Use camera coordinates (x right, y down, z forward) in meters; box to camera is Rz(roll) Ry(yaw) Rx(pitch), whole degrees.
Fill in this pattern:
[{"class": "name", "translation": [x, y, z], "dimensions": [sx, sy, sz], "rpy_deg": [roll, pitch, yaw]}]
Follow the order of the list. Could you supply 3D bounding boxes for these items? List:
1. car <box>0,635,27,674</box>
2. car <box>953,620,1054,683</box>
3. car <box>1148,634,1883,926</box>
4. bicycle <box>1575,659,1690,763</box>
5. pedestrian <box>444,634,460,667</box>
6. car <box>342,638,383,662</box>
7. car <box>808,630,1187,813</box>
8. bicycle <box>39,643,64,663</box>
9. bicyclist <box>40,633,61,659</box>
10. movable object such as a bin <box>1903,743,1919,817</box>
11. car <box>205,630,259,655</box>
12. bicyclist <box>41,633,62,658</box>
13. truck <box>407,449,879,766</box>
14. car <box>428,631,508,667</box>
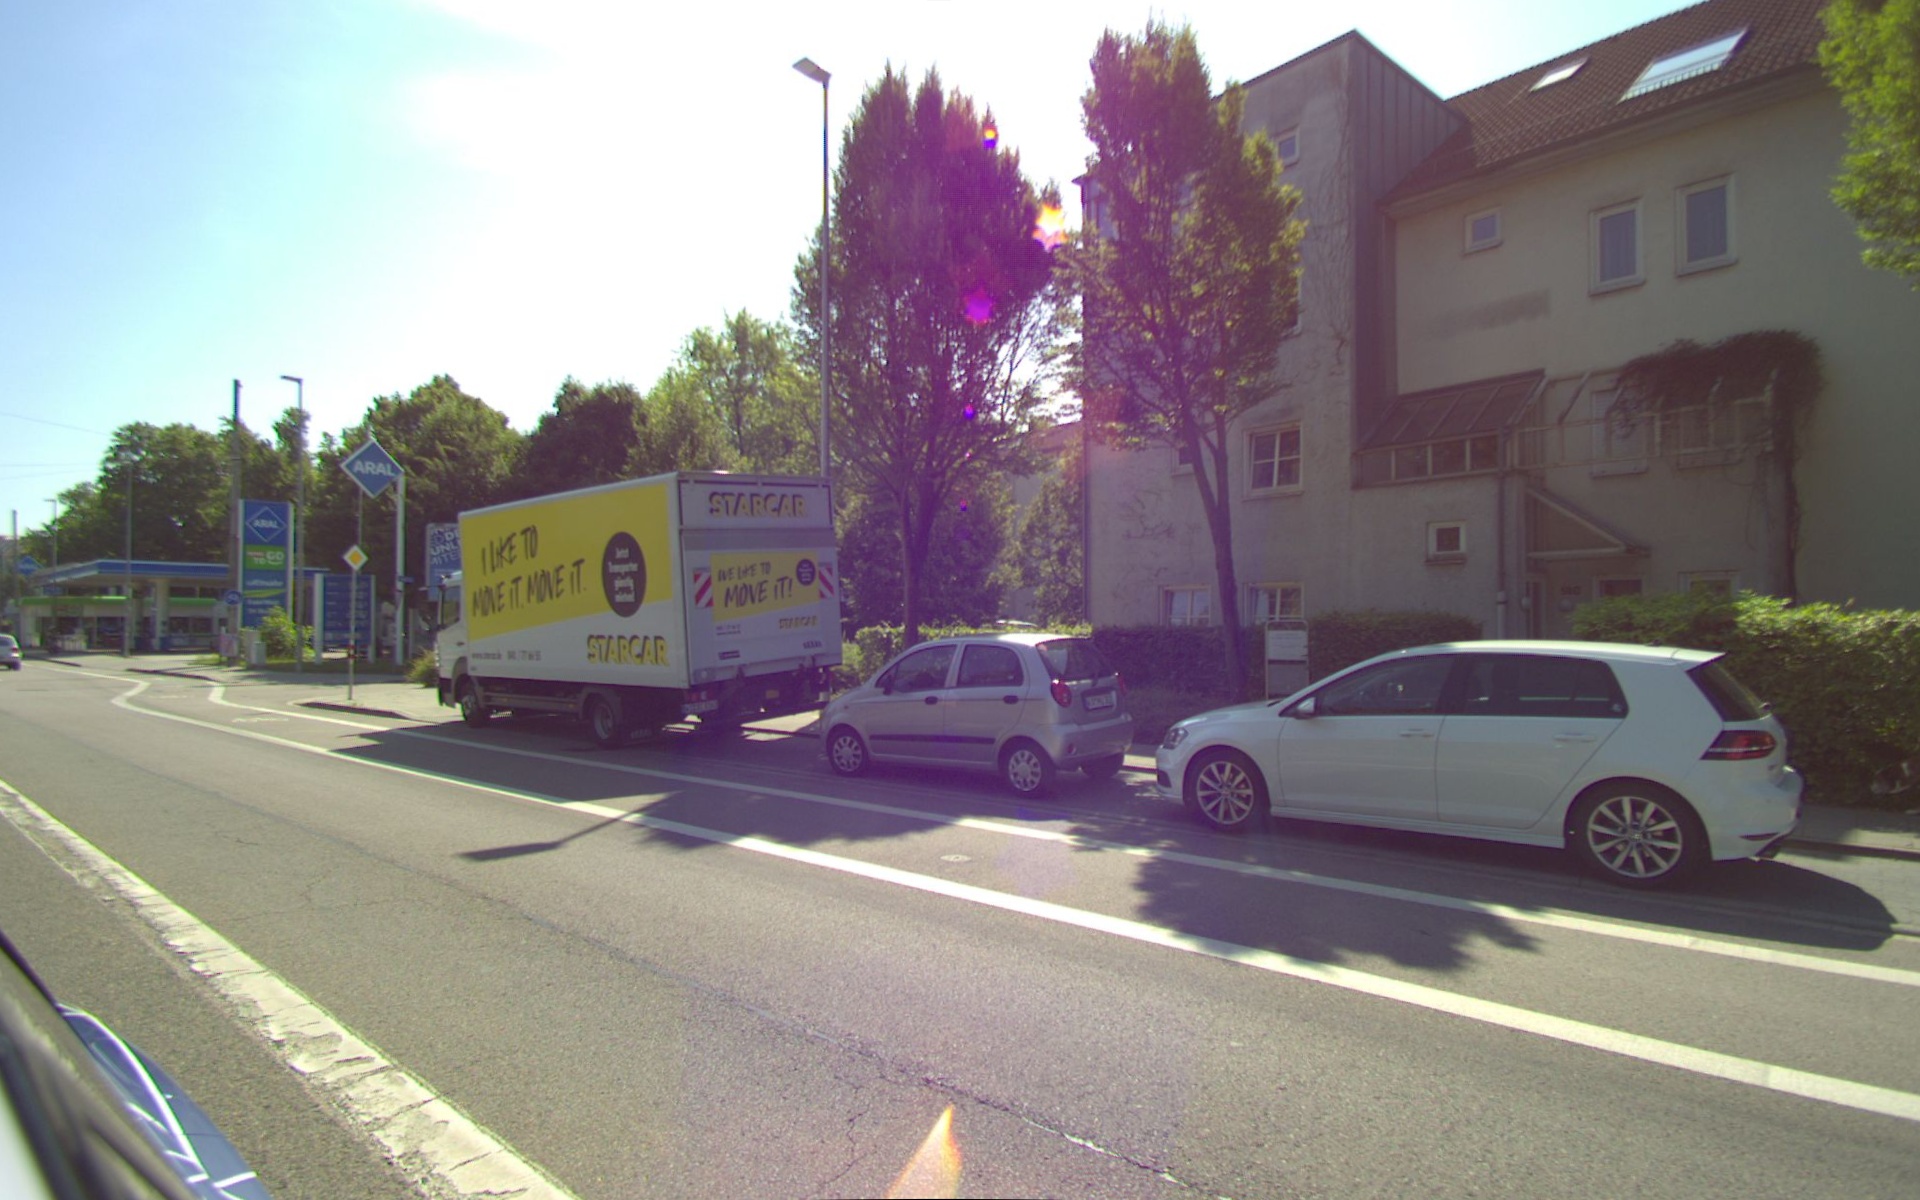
[{"class": "car", "translation": [-37.385, 2.085, 39.160], "dimensions": [4.311, 1.431, 1.640], "rpy_deg": [-2, -4, 45]}, {"class": "car", "translation": [1.878, 2.173, 43.175], "dimensions": [4.118, 2.557, 1.792], "rpy_deg": [2, -3, -36]}, {"class": "car", "translation": [3.674, 0.993, 7.267], "dimensions": [4.279, 1.440, 1.739], "rpy_deg": [-2, -1, 41]}, {"class": "bicycle", "translation": [7.578, 1.202, 11.369], "dimensions": [1.987, 1.018, 0.550], "rpy_deg": [1, -2, -41]}, {"class": "pedestrian", "translation": [-23.318, 2.330, 46.432], "dimensions": [0.500, 1.492, 0.493], "rpy_deg": [-2, -3, 41]}, {"class": "car", "translation": [-35.320, 2.946, 59.894], "dimensions": [1.774, 1.356, 4.257], "rpy_deg": [1, -2, -26]}, {"class": "car", "translation": [0.280, 1.080, 10.328], "dimensions": [3.632, 1.495, 1.593], "rpy_deg": [-2, 0, 39]}, {"class": "bicycle", "translation": [-52.721, 3.075, 58.715], "dimensions": [2.772, 1.103, 0.816], "rpy_deg": [-2, -3, 43]}, {"class": "bicyclist", "translation": [-53.251, 2.689, 59.241], "dimensions": [0.832, 1.447, 0.838], "rpy_deg": [-4, -3, 42]}, {"class": "movable object such as a bin", "translation": [7.657, 1.360, 7.412], "dimensions": [1.075, 0.520, 0.323], "rpy_deg": [-2, -3, 41]}, {"class": "car", "translation": [-54.863, 3.200, 76.260], "dimensions": [5.958, 1.795, 1.825], "rpy_deg": [-2, -3, 40]}, {"class": "bicyclist", "translation": [-52.671, 2.636, 58.686], "dimensions": [0.832, 1.447, 0.837], "rpy_deg": [-4, -4, 43]}, {"class": "truck", "translation": [-5.182, 0.168, 15.179], "dimensions": [8.586, 3.557, 2.639], "rpy_deg": [-2, -1, 41]}, {"class": "car", "translation": [-23.374, 2.330, 47.996], "dimensions": [4.514, 1.582, 1.781], "rpy_deg": [-4, -4, 40]}]
